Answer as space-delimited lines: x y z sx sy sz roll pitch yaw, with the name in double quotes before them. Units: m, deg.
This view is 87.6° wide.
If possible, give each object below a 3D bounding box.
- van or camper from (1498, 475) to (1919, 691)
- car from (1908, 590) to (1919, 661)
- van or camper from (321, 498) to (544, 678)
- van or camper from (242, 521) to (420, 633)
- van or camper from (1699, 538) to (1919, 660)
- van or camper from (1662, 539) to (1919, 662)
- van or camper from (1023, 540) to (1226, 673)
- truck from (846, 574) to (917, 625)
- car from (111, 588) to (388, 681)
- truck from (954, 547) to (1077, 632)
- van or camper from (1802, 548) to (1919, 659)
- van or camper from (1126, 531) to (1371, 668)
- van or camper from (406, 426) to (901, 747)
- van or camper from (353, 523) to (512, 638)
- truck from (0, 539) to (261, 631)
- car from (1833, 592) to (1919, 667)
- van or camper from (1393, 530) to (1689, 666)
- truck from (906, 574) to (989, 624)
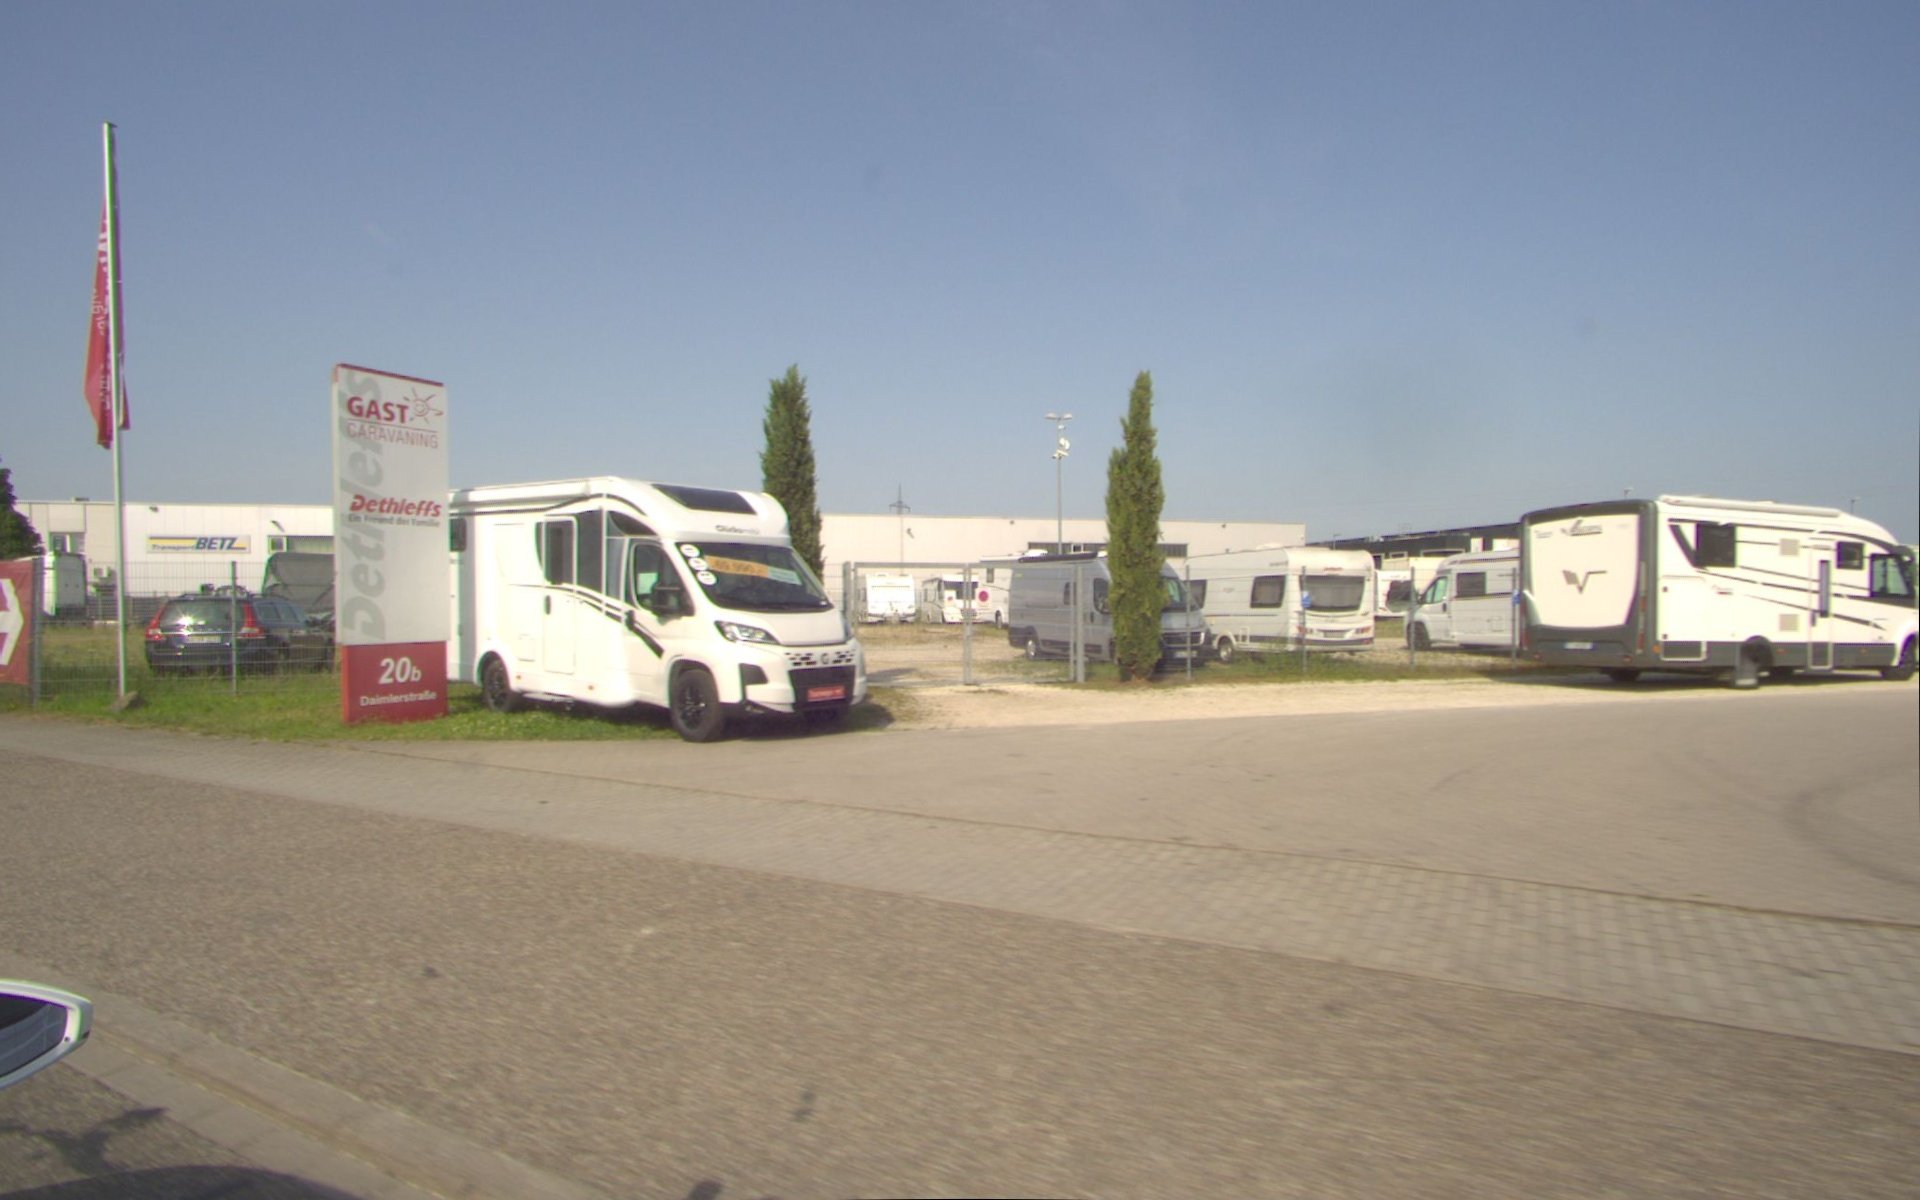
"van or camper" 12.755 -0.236 16.736 7.160 3.072 2.578 0 1 -21
"car" 21.907 0.545 19.998 1.686 1.515 3.992 2 -1 -18
"van or camper" -9.600 -0.222 18.976 2.447 2.789 6.611 0 1 -16
"van or camper" -19.516 -0.673 31.604 2.622 3.126 6.784 0 1 -13
"van or camper" 25.416 -0.001 28.755 2.448 3.170 6.597 0 0 -17
"van or camper" 22.872 0.035 26.895 2.287 2.901 6.597 0 0 -17
"van or camper" 3.437 0.126 22.526 1.965 2.568 6.137 0 0 -17
"truck" -4.005 -0.043 49.617 2.414 2.295 7.203 0 1 -14
"car" -12.566 0.531 18.106 2.130 1.496 3.999 0 1 0
"truck" 1.891 -0.380 38.036 2.414 2.884 7.989 0 1 -14
"van or camper" 28.727 0.097 28.844 2.448 3.170 6.597 0 0 -17
"van or camper" 6.448 -0.012 23.587 2.287 2.742 6.595 0 0 -18
"van or camper" -4.068 -0.151 12.344 6.882 2.983 2.322 1 1 38
"van or camper" -16.282 -0.577 31.551 2.757 3.126 7.954 0 1 -15
"truck" -37.935 -0.642 46.042 9.150 4.026 2.453 0 1 -17
"car" 19.362 0.588 18.933 1.687 1.435 3.989 2 -1 -21
"van or camper" 14.001 -0.017 24.855 2.287 2.901 6.597 0 0 -17
"truck" -0.779 -0.082 50.135 2.414 2.295 7.989 0 1 -14
